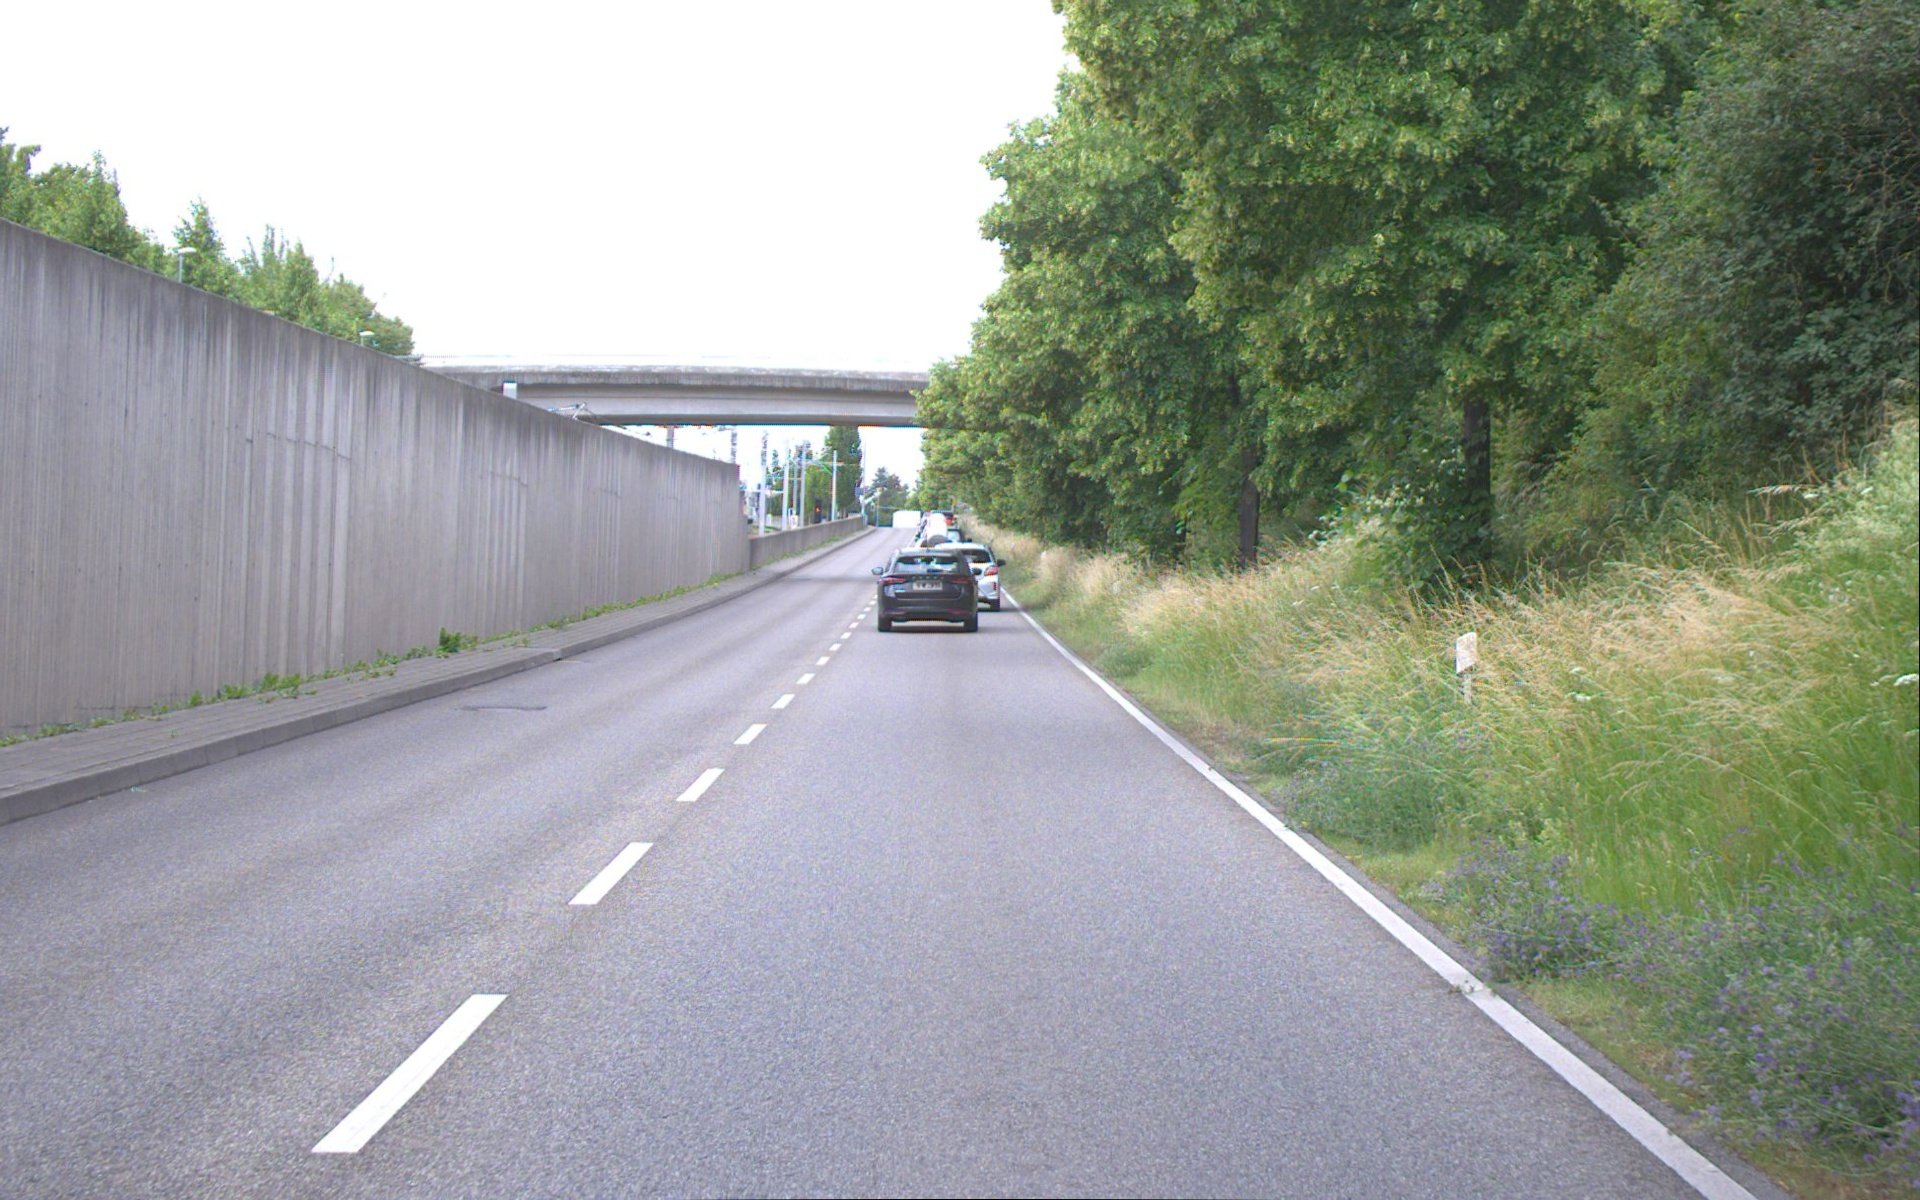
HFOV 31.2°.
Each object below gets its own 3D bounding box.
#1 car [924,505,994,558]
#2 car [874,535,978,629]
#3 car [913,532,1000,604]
[{"bbox_3d":[-0.049,-1.951,98.227,1.866,1.485,4.257,1,1,-2],"label":"car"},{"bbox_3d":[-0.610,-0.343,60.963,1.754,1.518,4.037,1,2,-1],"label":"car"},{"bbox_3d":[-0.102,-0.708,75.831,1.754,1.518,4.037,-1,1,-2],"label":"car"}]
